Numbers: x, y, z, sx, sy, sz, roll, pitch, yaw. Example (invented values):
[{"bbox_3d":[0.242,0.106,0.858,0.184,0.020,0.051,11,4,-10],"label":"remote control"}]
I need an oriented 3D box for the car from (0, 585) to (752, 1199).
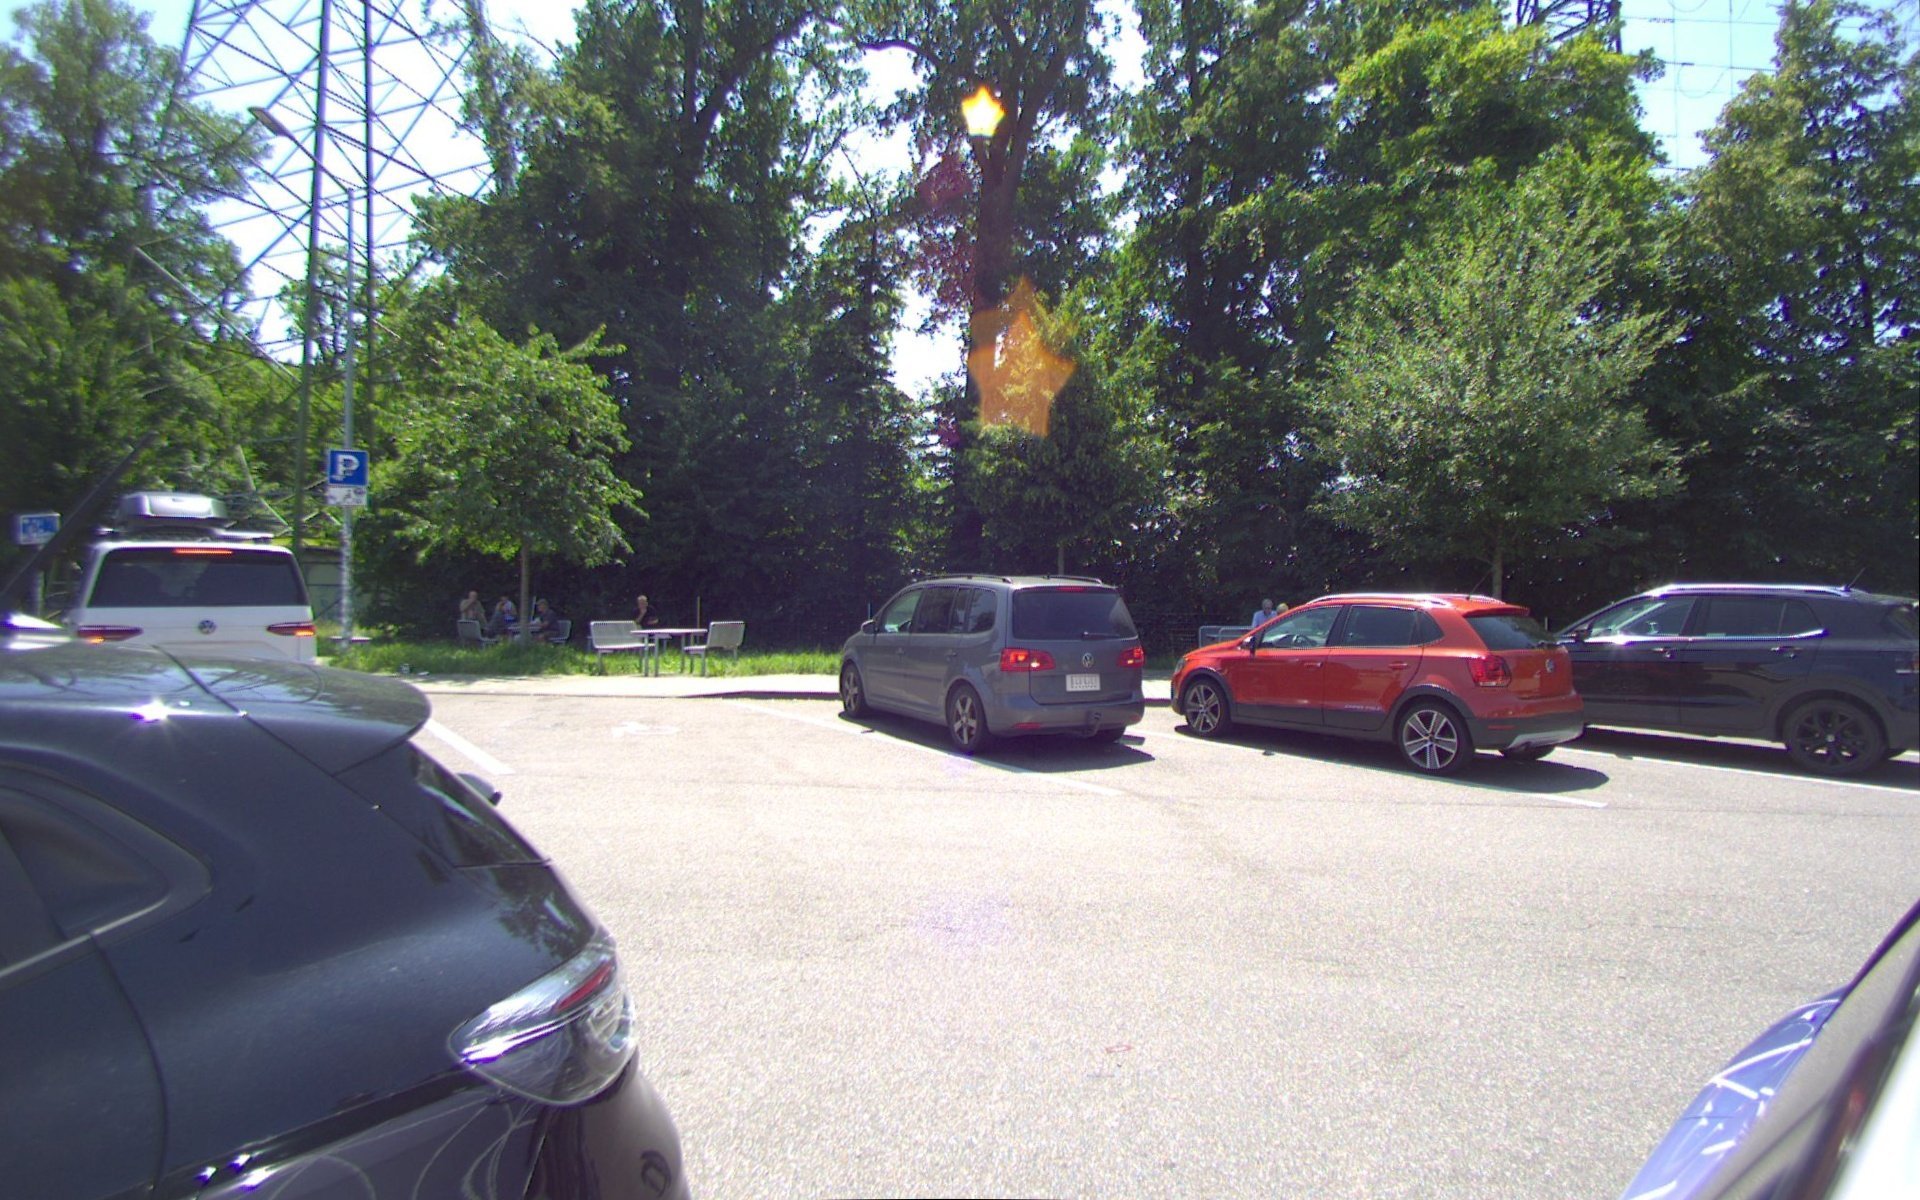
[{"bbox_3d":[-2.206,0.716,0.608,1.737,1.501,3.757,0,0,44],"label":"car"}]

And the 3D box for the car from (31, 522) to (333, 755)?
[{"bbox_3d":[-8.359,0.278,10.701,4.549,1.936,1.882,1,1,44],"label":"car"}]

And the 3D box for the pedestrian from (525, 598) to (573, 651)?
[{"bbox_3d":[-9.604,0.565,23.634,0.873,1.192,0.668,0,0,-41],"label":"pedestrian"}]

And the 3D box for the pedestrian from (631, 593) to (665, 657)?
[{"bbox_3d":[-6.554,0.511,21.288,0.655,1.311,0.786,0,0,-16],"label":"pedestrian"}]

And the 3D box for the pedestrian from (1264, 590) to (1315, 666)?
[{"bbox_3d":[5.778,0.478,17.784,0.657,1.311,0.783,0,0,3],"label":"pedestrian"}]

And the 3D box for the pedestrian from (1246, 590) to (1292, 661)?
[{"bbox_3d":[5.783,0.467,18.970,0.657,1.311,0.783,0,0,3],"label":"pedestrian"}]

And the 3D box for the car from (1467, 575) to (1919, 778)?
[{"bbox_3d":[7.177,0.568,9.717,1.690,1.593,3.787,0,1,-39],"label":"car"}]

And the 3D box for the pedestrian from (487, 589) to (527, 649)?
[{"bbox_3d":[-11.004,0.449,24.576,0.664,1.422,0.643,0,0,32],"label":"pedestrian"}]

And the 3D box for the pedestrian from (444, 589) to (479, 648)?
[{"bbox_3d":[-12.314,0.452,25.010,0.657,1.422,0.649,0,0,-39],"label":"pedestrian"}]

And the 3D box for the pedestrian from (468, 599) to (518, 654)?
[{"bbox_3d":[-10.520,0.578,22.780,0.873,1.192,0.668,0,0,-41],"label":"pedestrian"}]

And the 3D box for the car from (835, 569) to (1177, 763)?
[{"bbox_3d":[0.251,0.510,10.527,1.713,1.601,3.996,0,1,-29],"label":"car"}]

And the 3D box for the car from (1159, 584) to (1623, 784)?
[{"bbox_3d":[3.851,0.603,9.657,1.687,1.484,3.793,0,1,-32],"label":"car"}]
